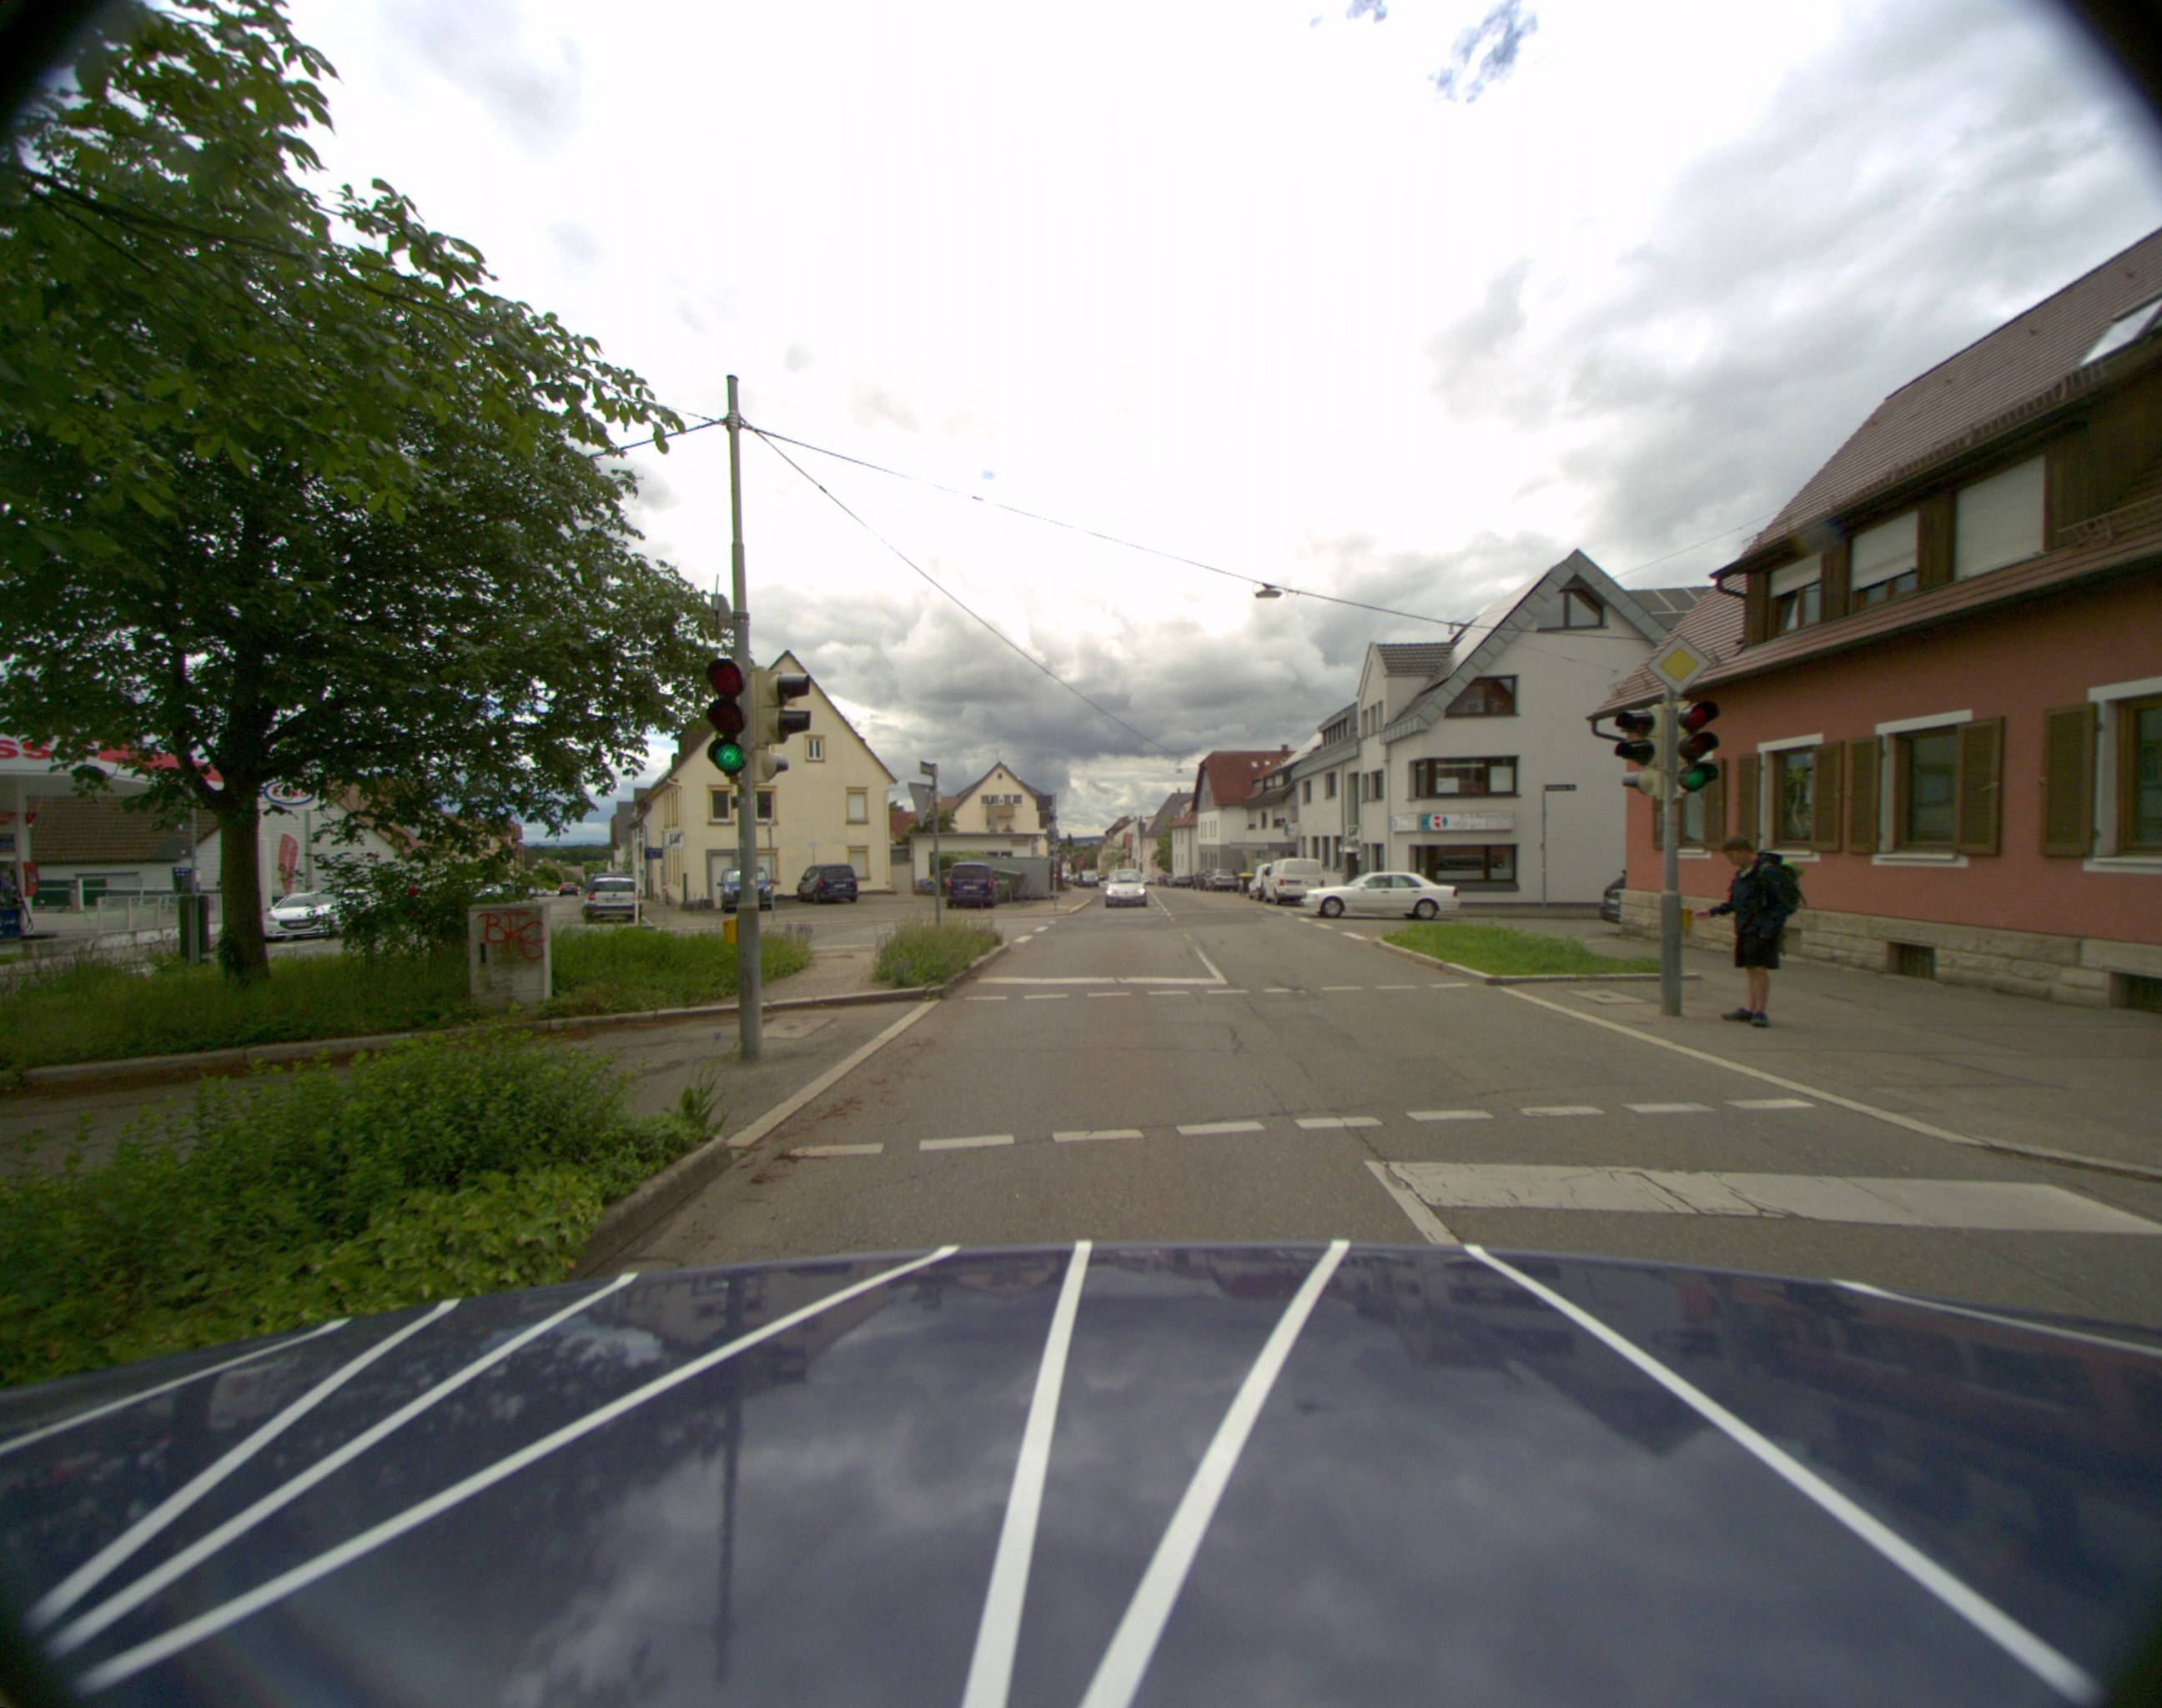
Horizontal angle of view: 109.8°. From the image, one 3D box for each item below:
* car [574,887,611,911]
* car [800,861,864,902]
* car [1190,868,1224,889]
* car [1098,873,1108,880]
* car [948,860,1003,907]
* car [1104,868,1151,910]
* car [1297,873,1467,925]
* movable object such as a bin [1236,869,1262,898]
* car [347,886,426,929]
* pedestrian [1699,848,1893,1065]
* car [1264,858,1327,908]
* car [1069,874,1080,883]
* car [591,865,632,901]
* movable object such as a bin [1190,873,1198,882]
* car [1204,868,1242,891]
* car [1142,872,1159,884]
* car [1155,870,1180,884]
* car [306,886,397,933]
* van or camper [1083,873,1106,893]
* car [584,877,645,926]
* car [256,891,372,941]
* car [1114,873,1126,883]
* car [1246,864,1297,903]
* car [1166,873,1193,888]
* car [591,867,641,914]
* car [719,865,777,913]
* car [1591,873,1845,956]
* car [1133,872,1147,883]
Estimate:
[{"bbox_3d":[-38.831,3.565,60.470,2.286,1.720,3.991,-2,-1,-32],"label":"car"},{"bbox_3d":[-11.552,1.272,35.094,1.872,1.717,3.991,-2,-1,-32],"label":"car"},{"bbox_3d":[10.184,1.962,61.580,1.842,1.623,4.408,1,-1,-2],"label":"car"},{"bbox_3d":[4.846,5.043,167.912,1.706,1.523,3.735,2,-1,-3],"label":"car"},{"bbox_3d":[-4.212,1.171,30.916,1.751,1.729,4.572,1,-1,-3],"label":"car"},{"bbox_3d":[1.946,1.448,32.696,1.721,1.586,4.001,-3,-1,0],"label":"car"},{"bbox_3d":[9.165,1.339,23.513,4.561,1.436,2.002,1,-1,9],"label":"car"},{"bbox_3d":[9.807,1.711,44.487,1.143,1.623,1.563,0,-1,-2],"label":"movable object such as a bin"},{"bbox_3d":[-29.428,2.236,32.319,1.725,1.586,3.991,-2,-1,-32],"label":"car"},{"bbox_3d":[6.205,0.852,6.655,0.892,1.774,0.803,-2,-1,5],"label":"pedestrian"},{"bbox_3d":[9.148,1.212,32.773,1.816,1.993,4.766,1,-1,6],"label":"car"},{"bbox_3d":[-1.134,4.198,130.827,1.613,1.446,3.859,-3,-1,-3],"label":"car"},{"bbox_3d":[-24.699,1.520,39.997,1.725,1.720,3.991,-2,-1,-32],"label":"car"},{"bbox_3d":[12.685,2.651,85.255,0.679,1.038,0.759,-3,-1,-3],"label":"movable object such as a bin"},{"bbox_3d":[10.392,1.871,55.937,1.842,1.623,4.408,0,-1,-2],"label":"car"},{"bbox_3d":[8.949,3.093,98.489,1.654,1.438,3.811,0,-1,-3],"label":"car"},{"bbox_3d":[9.246,2.504,81.664,1.843,1.436,3.999,1,-1,-5],"label":"car"},{"bbox_3d":[-27.096,1.998,28.350,1.630,1.466,3.759,-1,0,-31],"label":"car"},{"bbox_3d":[1.470,3.252,85.466,1.999,2.001,5.063,-4,-1,-4],"label":"van or camper"},{"bbox_3d":[-17.457,1.733,28.370,1.778,1.608,3.991,-2,-1,-33],"label":"car"},{"bbox_3d":[-24.379,1.923,24.306,1.778,1.470,3.822,1,-3,-32],"label":"car"},{"bbox_3d":[6.720,4.105,130.563,1.706,1.523,3.735,2,-1,-3],"label":"car"},{"bbox_3d":[9.569,1.455,38.430,1.737,1.820,4.300,1,-1,4],"label":"car"},{"bbox_3d":[9.719,2.634,75.303,1.842,1.436,4.467,1,-1,-3],"label":"car"},{"bbox_3d":[-20.807,1.629,33.948,1.778,1.931,4.314,1,-3,-33],"label":"car"},{"bbox_3d":[-14.308,1.470,32.475,1.905,1.791,4.884,-3,-1,-27],"label":"car"},{"bbox_3d":[14.432,1.322,17.473,4.051,1.581,1.805,2,1,12],"label":"car"},{"bbox_3d":[8.066,3.191,103.729,1.654,1.438,3.775,0,-1,-1],"label":"car"}]
